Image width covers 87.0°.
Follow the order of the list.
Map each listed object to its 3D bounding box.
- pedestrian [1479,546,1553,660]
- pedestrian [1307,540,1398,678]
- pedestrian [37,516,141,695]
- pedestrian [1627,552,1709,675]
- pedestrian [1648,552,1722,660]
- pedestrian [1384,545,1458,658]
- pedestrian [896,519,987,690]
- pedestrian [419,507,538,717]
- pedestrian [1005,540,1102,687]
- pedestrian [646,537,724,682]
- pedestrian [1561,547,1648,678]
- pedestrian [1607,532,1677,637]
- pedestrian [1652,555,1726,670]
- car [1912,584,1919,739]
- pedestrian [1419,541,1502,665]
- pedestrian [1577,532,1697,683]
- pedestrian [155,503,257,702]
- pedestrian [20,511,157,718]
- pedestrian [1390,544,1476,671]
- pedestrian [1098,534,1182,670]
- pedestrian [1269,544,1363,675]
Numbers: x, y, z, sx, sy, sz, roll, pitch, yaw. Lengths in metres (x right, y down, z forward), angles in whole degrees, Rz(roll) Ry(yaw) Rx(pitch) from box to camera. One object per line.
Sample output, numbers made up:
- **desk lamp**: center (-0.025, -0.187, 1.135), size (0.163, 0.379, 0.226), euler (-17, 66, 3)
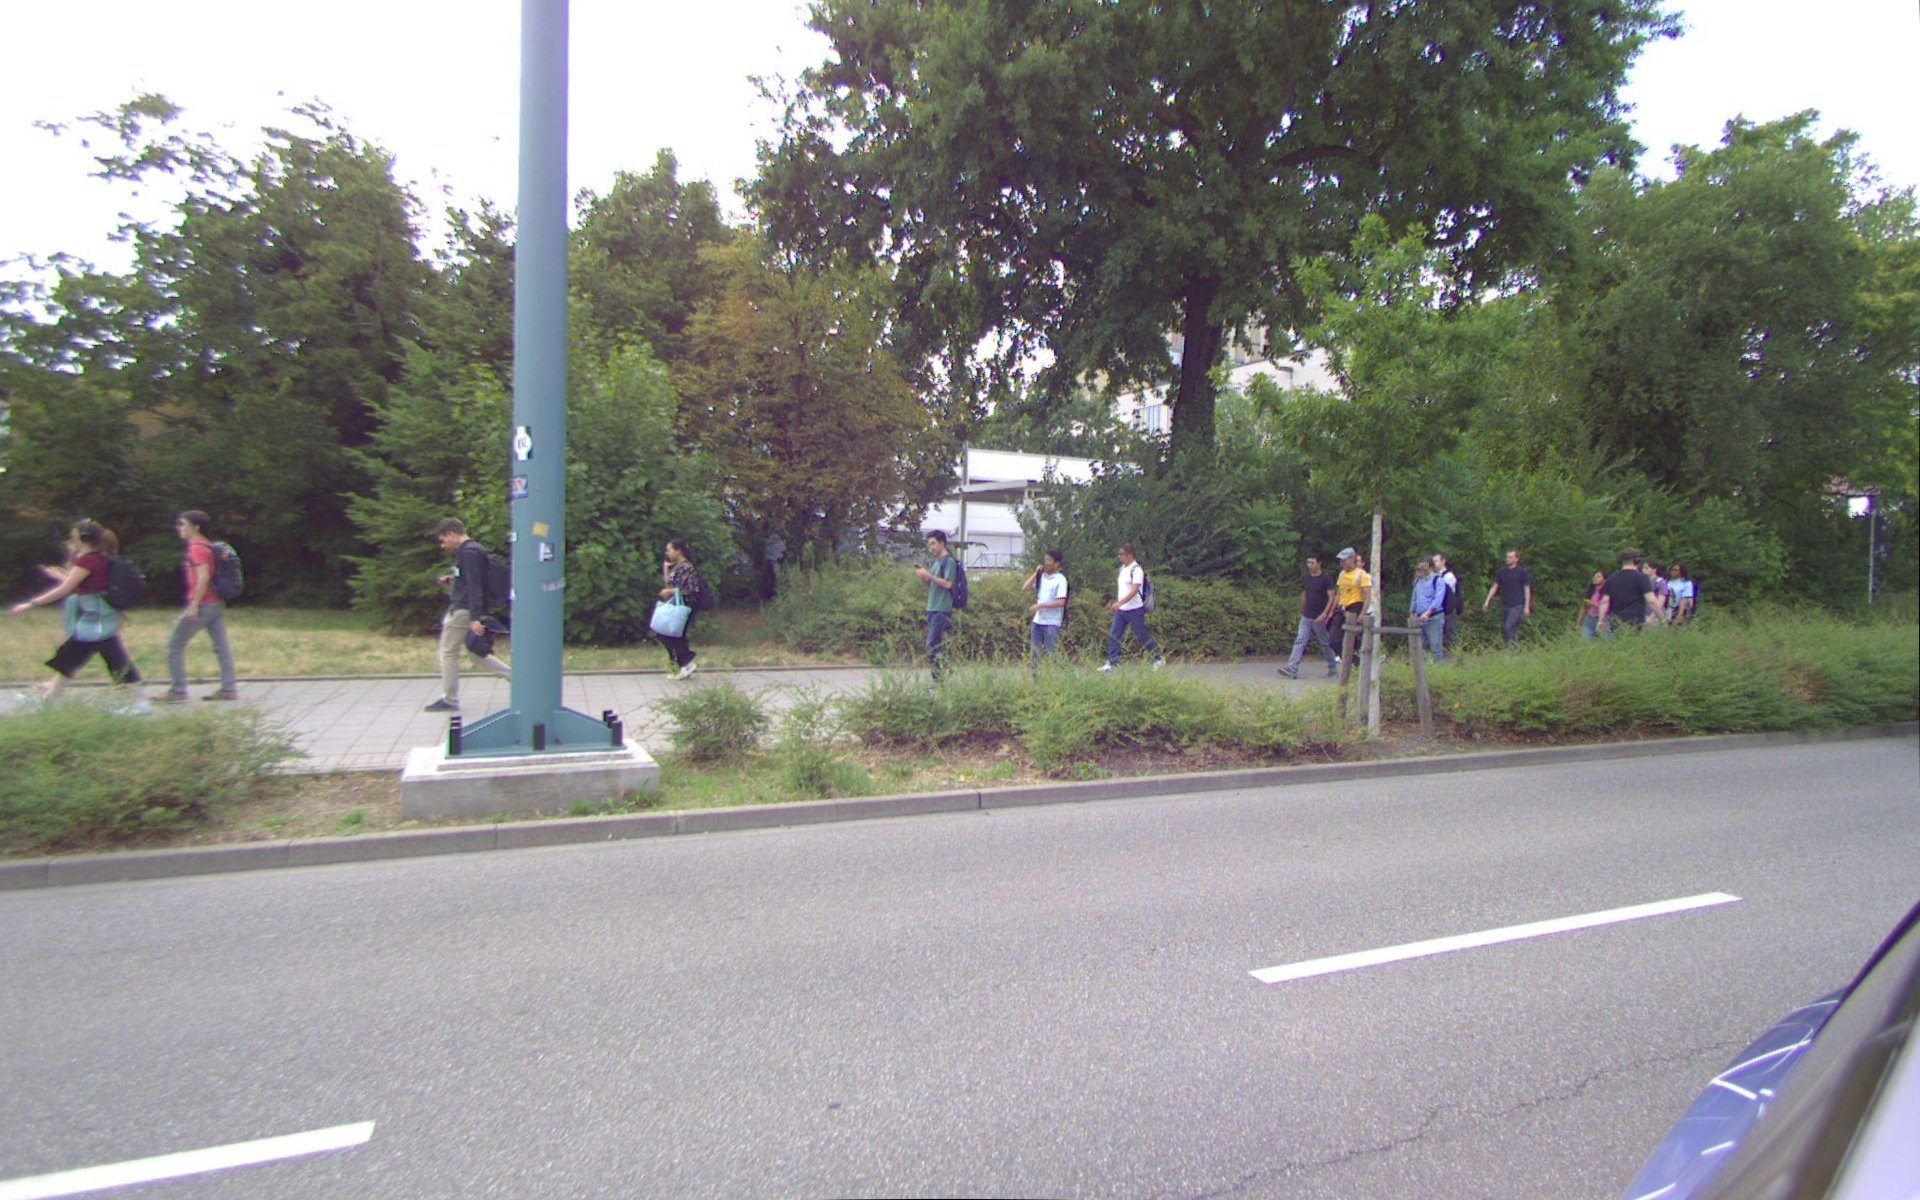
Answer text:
- **pedestrian**: center (8.873, 0.029, 16.151), size (0.764, 1.766, 0.660), euler (1, 2, -25)
- **pedestrian**: center (5.030, 0.103, 12.990), size (0.824, 1.710, 0.660), euler (1, 2, -25)
- **pedestrian**: center (-8.313, 0.047, 9.677), size (0.639, 1.653, 0.470), euler (1, 2, -22)
- **pedestrian**: center (10.408, 0.182, 14.888), size (0.764, 1.766, 0.627), euler (1, 2, -25)
- **pedestrian**: center (12.171, 0.083, 16.988), size (0.764, 1.766, 0.660), euler (1, 2, -25)
- **pedestrian**: center (7.178, 0.010, 15.774), size (0.764, 1.720, 0.660), euler (1, 2, -25)
- **pedestrian**: center (-0.215, 0.037, 11.363), size (0.795, 1.843, 0.659), euler (1, 2, -22)
- **pedestrian**: center (-4.427, 0.096, 9.362), size (0.934, 1.843, 0.697), euler (1, 2, -22)
- **pedestrian**: center (1.065, 0.136, 11.620), size (0.795, 1.622, 0.780), euler (1, 2, -22)
- **pedestrian**: center (-3.161, 0.093, 11.606), size (0.769, 1.603, 0.639), euler (1, 2, -22)
- **pedestrian**: center (9.011, 0.156, 14.152), size (0.764, 1.766, 0.660), euler (1, 2, -25)
- **pedestrian**: center (11.840, -0.274, 17.575), size (0.764, 1.766, 0.660), euler (1, 2, -25)
- **pedestrian**: center (11.547, 0.185, 16.037), size (0.773, 1.766, 0.584), euler (1, 2, -25)
- **car**: center (11.456, 0.653, 9.814), size (3.751, 1.512, 1.708), euler (1, 2, -20)
- **pedestrian**: center (7.469, 0.047, 15.111), size (0.938, 1.789, 0.660), euler (1, -1, -25)
- **pedestrian**: center (8.702, 0.078, 13.053), size (0.871, 1.853, 0.936), euler (1, 2, 5)
- **pedestrian**: center (-7.007, 0.013, 9.426), size (0.650, 1.785, 0.487), euler (1, 2, -22)
- **pedestrian**: center (-7.384, 0.112, 8.601), size (0.737, 1.675, 0.559), euler (1, 2, -22)
- **pedestrian**: center (6.422, 0.090, 13.756), size (0.795, 1.668, 0.660), euler (1, 2, -25)
- **pedestrian**: center (2.408, 0.015, 13.594), size (0.795, 1.766, 0.725), euler (1, 2, -22)
- **pedestrian**: center (4.758, 0.110, 13.543), size (0.951, 1.687, 0.660), euler (1, 2, -25)
